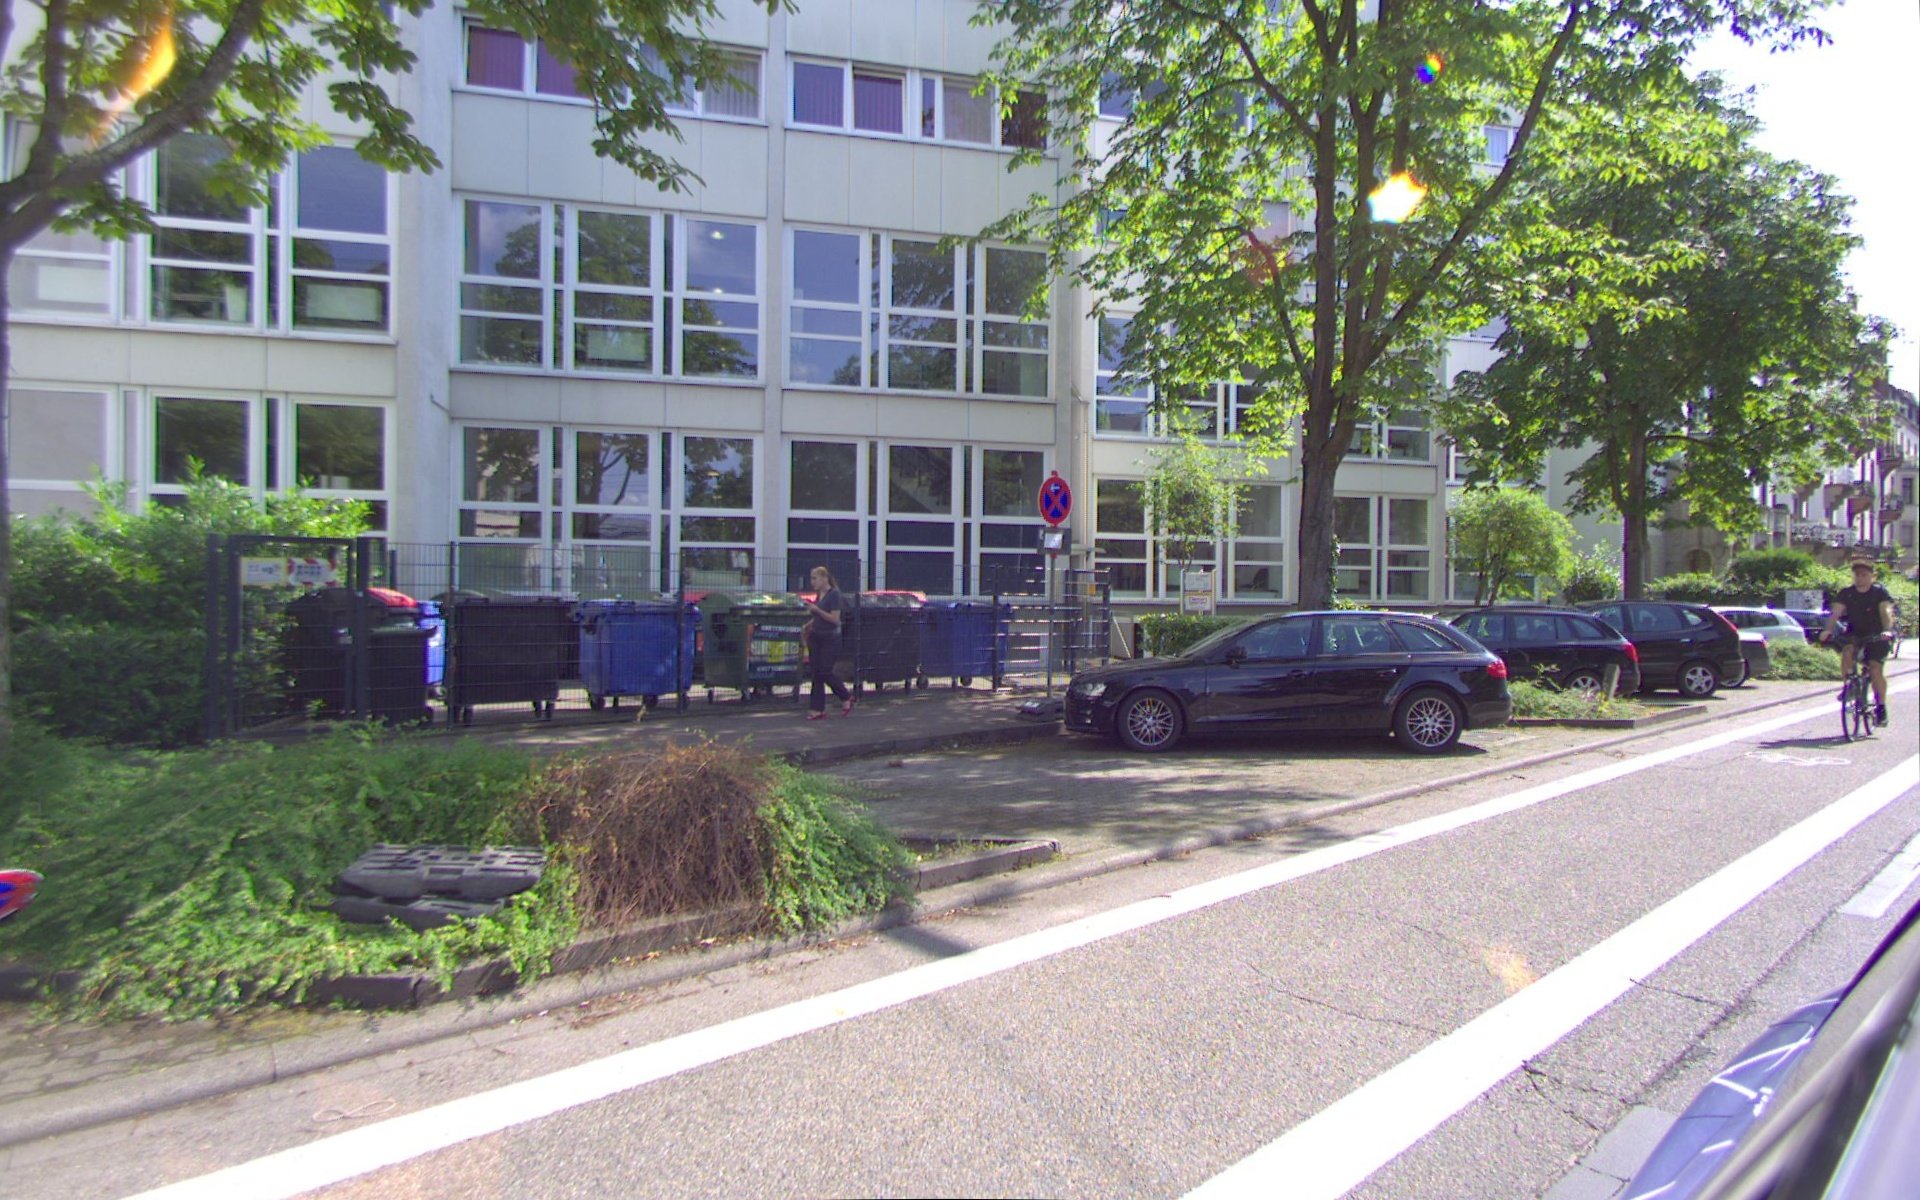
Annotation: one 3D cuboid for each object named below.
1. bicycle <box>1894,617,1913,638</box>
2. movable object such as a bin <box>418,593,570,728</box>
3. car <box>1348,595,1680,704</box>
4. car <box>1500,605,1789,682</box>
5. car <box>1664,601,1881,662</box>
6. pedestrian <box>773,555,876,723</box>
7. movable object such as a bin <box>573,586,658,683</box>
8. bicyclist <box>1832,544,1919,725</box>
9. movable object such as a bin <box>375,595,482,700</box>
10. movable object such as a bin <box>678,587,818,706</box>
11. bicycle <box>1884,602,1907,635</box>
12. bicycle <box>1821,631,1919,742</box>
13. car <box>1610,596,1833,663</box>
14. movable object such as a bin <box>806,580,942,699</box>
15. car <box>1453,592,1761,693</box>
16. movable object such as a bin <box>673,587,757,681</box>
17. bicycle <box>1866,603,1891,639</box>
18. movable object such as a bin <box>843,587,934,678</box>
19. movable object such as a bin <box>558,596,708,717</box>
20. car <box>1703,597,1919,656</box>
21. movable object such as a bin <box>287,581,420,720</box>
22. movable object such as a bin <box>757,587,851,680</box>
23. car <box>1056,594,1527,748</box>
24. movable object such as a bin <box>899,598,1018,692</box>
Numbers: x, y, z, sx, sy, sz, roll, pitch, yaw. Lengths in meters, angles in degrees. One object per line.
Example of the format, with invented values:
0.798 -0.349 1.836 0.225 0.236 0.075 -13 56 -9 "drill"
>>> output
34.499 0.992 36.995 1.531 0.685 0.280 0 4 -40 "bicycle"
-5.111 0.622 11.082 1.215 1.353 1.277 0 -1 -41 "movable object such as a bin"
8.167 0.714 15.246 4.005 1.462 1.722 1 -2 7 "car"
12.869 0.803 19.285 4.103 1.366 1.902 -1 -1 6 "car"
20.480 0.765 25.656 3.933 1.467 1.695 0 0 8 "car"
-1.613 0.433 12.028 0.983 1.897 0.763 0 0 -34 "pedestrian"
-5.601 0.538 16.522 1.237 1.465 1.383 1 2 -18 "movable object such as a bin"
10.532 0.371 11.604 1.110 1.973 0.608 0 -1 -40 "bicyclist"
-7.434 0.635 14.227 1.237 1.355 1.216 1 2 -24 "movable object such as a bin"
-2.791 0.593 13.329 1.274 1.456 1.331 -2 -3 43 "movable object such as a bin"
33.074 0.648 35.774 1.975 1.122 0.280 0 4 -40 "bicycle"
10.551 0.954 11.656 1.804 1.057 0.617 -2 5 -40 "bicycle"
17.760 0.659 23.728 3.929 1.479 1.533 0 0 5 "car"
-1.214 0.515 14.198 1.443 1.558 1.277 0 0 -39 "movable object such as a bin"
10.819 0.694 17.234 3.934 1.595 1.900 -1 -1 9 "car"
-4.100 0.539 16.850 1.237 1.465 1.383 1 2 -18 "movable object such as a bin"
30.439 0.672 33.538 1.975 1.122 0.280 0 4 -40 "bicycle"
-1.263 0.532 17.554 1.237 1.465 1.383 1 2 -18 "movable object such as a bin"
-3.970 0.639 12.267 1.335 1.353 1.277 0 -1 -41 "movable object such as a bin"
23.006 0.686 27.490 4.091 1.441 1.863 1 1 9 "car"
-6.904 0.557 11.607 0.918 1.500 1.270 1 -1 -12 "movable object such as a bin"
-2.653 0.539 17.090 1.422 1.474 1.212 -1 0 -16 "movable object such as a bin"
3.311 0.722 10.987 4.456 1.460 2.028 -1 -1 6 "car"
-0.031 0.639 15.360 1.302 1.335 1.277 0 0 -39 "movable object such as a bin"
